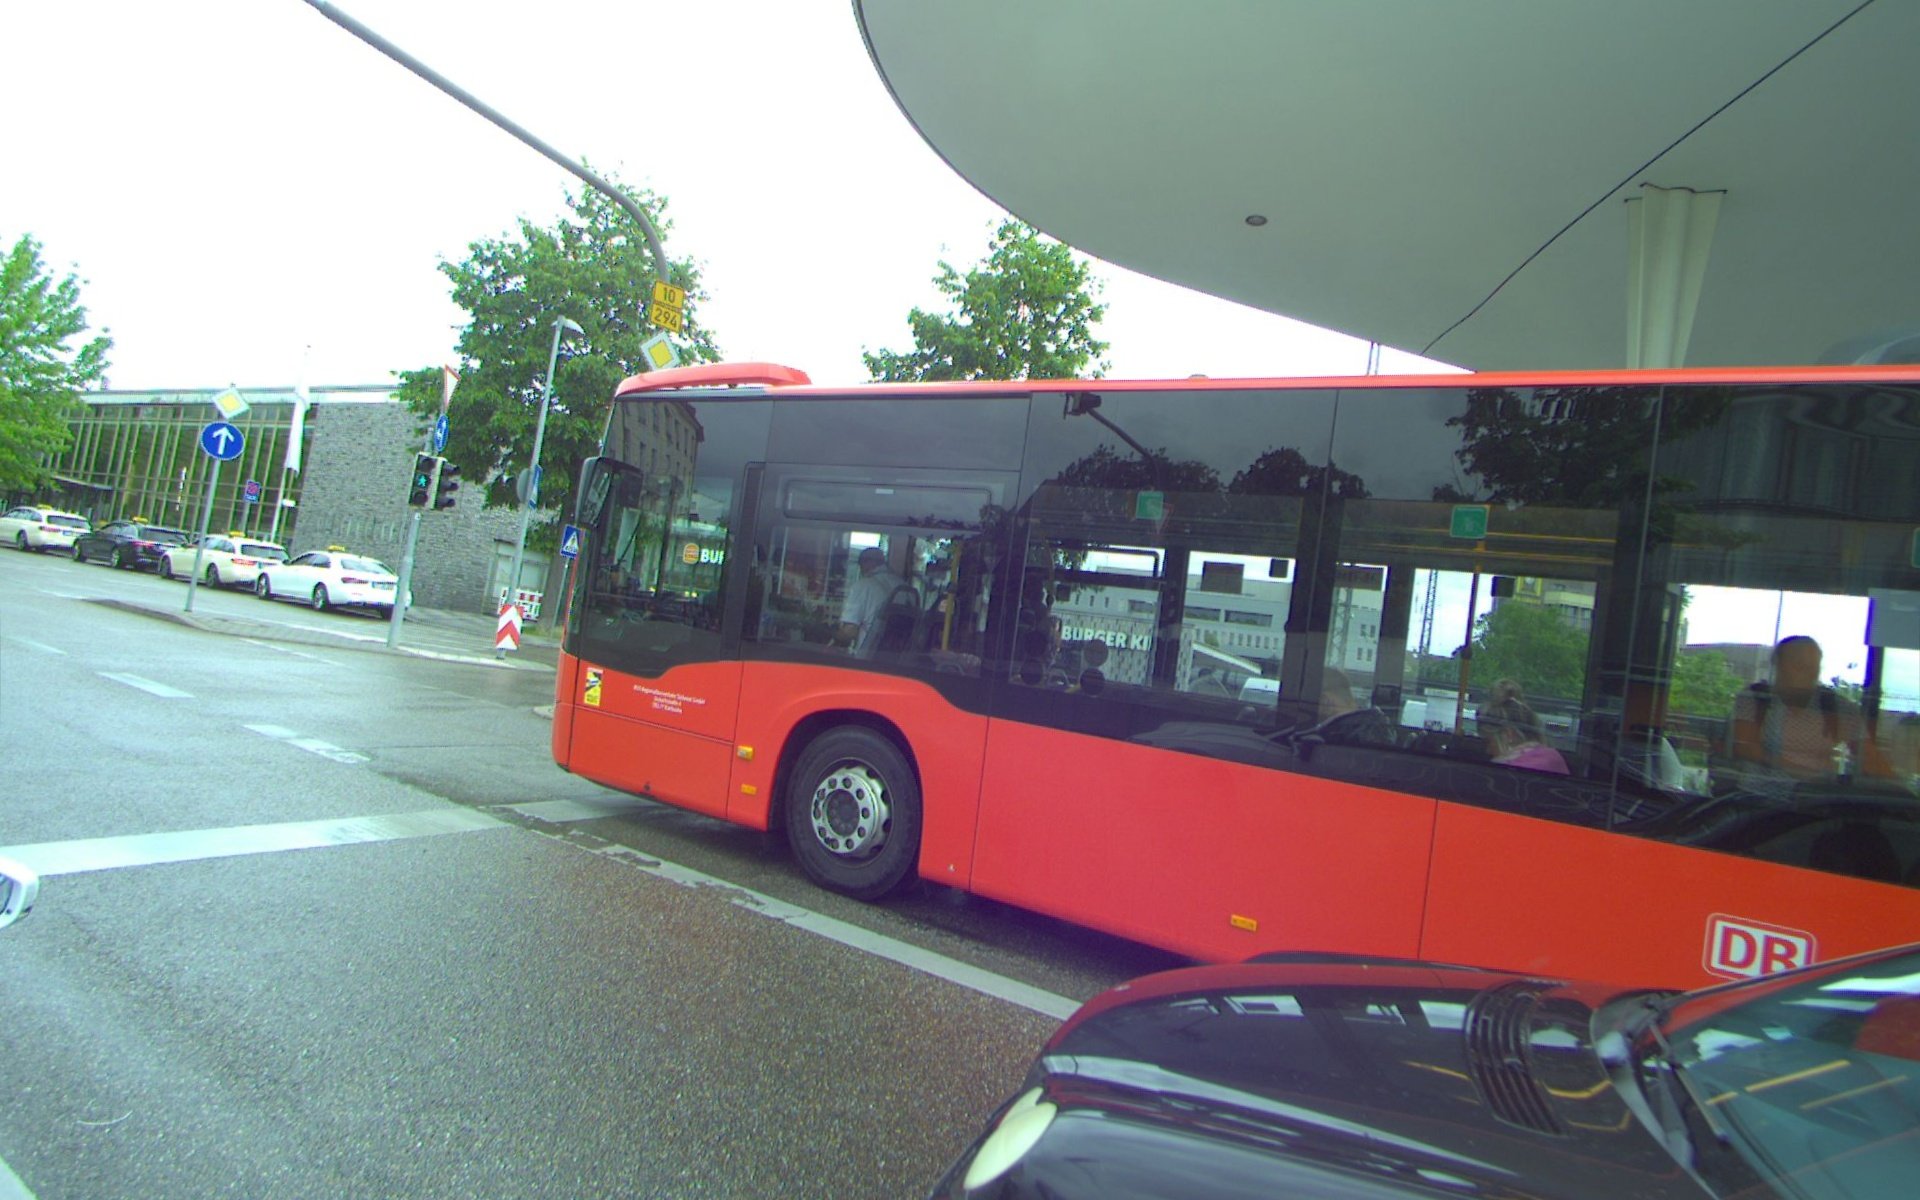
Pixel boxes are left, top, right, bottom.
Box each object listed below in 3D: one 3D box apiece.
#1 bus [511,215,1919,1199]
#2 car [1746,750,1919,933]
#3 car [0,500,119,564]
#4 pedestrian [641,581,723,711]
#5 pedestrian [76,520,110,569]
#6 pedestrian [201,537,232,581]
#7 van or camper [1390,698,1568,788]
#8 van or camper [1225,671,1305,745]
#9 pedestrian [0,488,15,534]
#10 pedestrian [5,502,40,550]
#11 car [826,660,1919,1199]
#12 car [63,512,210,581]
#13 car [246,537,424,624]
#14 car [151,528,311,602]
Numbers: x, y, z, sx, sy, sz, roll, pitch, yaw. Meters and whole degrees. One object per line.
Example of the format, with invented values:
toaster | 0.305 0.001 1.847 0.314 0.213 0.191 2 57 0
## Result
bus | 2.147 0.338 5.267 10.026 3.210 2.749 7 -2 32
car | 11.232 2.802 10.564 4.360 1.666 1.806 7 -4 32
car | -31.433 -2.380 34.533 4.736 1.618 2.000 7 -2 25
pedestrian | -3.878 0.638 14.117 0.796 1.693 0.712 8 -1 -6
pedestrian | -32.976 -2.108 38.256 0.703 1.729 0.565 7 -1 27
pedestrian | -29.928 -1.651 40.509 0.703 1.665 0.565 7 -1 27
van or camper | 20.337 5.547 39.544 5.873 2.491 2.108 7 -2 32
van or camper | 12.539 4.410 41.013 2.072 2.491 5.975 7 -3 25
pedestrian | -52.618 -4.923 55.093 0.848 2.439 0.844 7 -1 34
pedestrian | -43.418 -3.416 46.596 0.814 2.037 0.771 7 -1 30
car | 2.066 1.153 1.277 4.364 1.495 1.750 6 -5 33
car | -25.838 -1.703 31.523 4.661 1.542 1.918 7 -2 30
car | -15.853 -0.509 25.454 4.538 1.608 1.779 7 -2 30
car | -20.578 -1.001 28.350 4.588 1.468 1.851 7 -2 30
